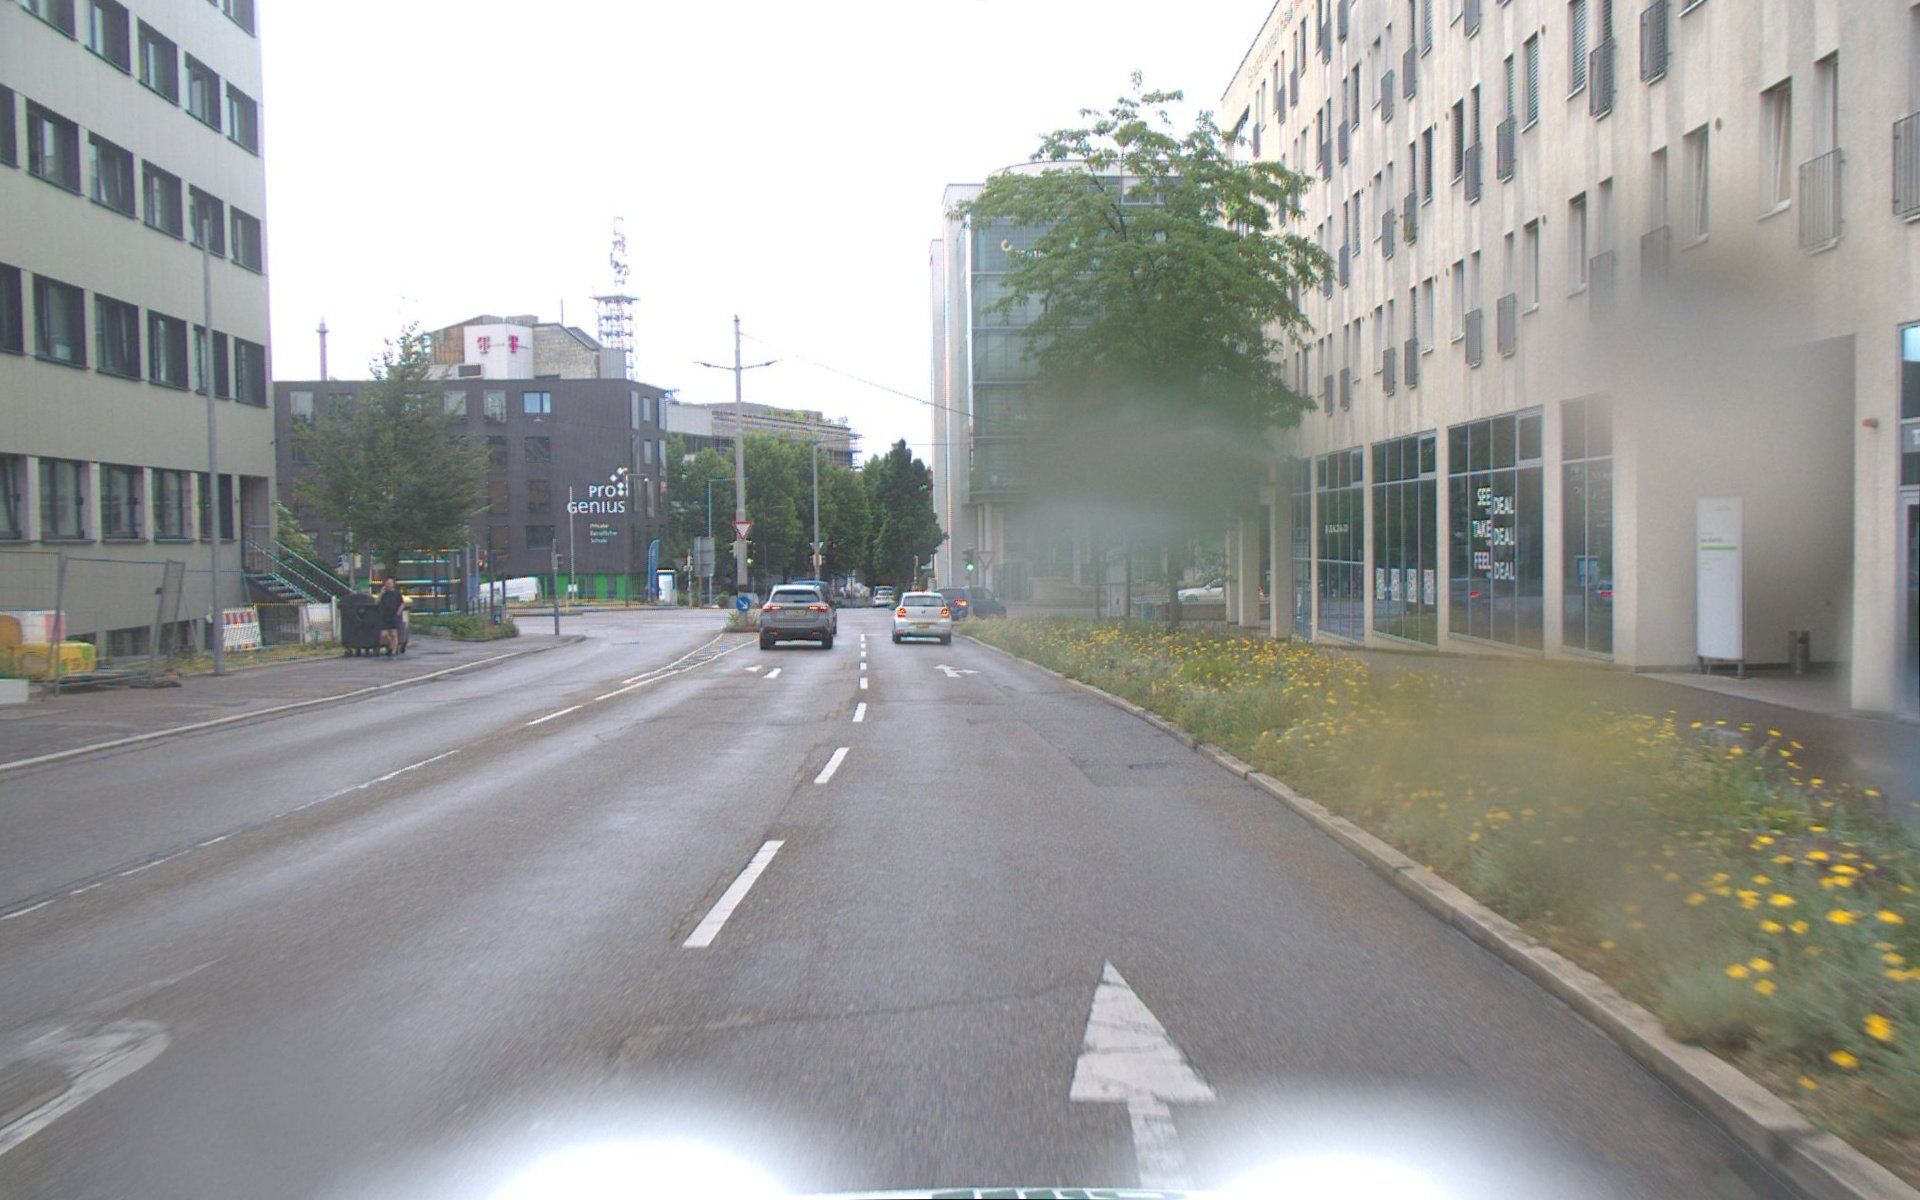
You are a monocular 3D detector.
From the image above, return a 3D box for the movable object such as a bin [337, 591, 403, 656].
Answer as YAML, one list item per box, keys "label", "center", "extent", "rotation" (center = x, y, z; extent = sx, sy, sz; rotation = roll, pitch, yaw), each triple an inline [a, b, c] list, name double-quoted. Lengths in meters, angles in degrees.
- label: "movable object such as a bin"
  center: [-13.800, 0.537, 38.727]
  extent: [1.033, 1.470, 1.430]
  rotation: [2, 0, -2]

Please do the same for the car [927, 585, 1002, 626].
- label: "car"
  center: [0.225, 0.219, 71.167]
  extent: [1.952, 1.601, 4.001]
  rotation: [0, 2, 21]

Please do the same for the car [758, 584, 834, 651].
- label: "car"
  center: [-4.281, 0.442, 43.704]
  extent: [1.871, 1.660, 4.207]
  rotation: [1, 0, -4]

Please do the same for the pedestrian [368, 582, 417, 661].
- label: "pedestrian"
  center: [-12.848, 0.478, 37.458]
  extent: [0.739, 1.762, 0.942]
  rotation: [1, -1, 0]

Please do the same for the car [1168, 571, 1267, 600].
- label: "car"
  center: [13.480, -0.792, 86.737]
  extent: [4.850, 1.411, 1.822]
  rotation: [-1, 2, -5]

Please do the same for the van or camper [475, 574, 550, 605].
- label: "van or camper"
  center: [-35.389, -0.816, 130.878]
  extent: [5.225, 2.410, 2.737]
  rotation: [1, 0, -4]

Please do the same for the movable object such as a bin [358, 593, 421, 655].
- label: "movable object such as a bin"
  center: [-13.862, 0.576, 40.250]
  extent: [1.033, 1.470, 1.358]
  rotation: [2, 0, -2]

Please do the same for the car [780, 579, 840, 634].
- label: "car"
  center: [-5.258, 0.208, 57.586]
  extent: [1.818, 1.799, 4.123]
  rotation: [-1, 0, -8]

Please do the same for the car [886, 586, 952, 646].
- label: "car"
  center: [-1.236, 0.432, 48.415]
  extent: [1.639, 1.499, 3.776]
  rotation: [-1, 3, -6]
